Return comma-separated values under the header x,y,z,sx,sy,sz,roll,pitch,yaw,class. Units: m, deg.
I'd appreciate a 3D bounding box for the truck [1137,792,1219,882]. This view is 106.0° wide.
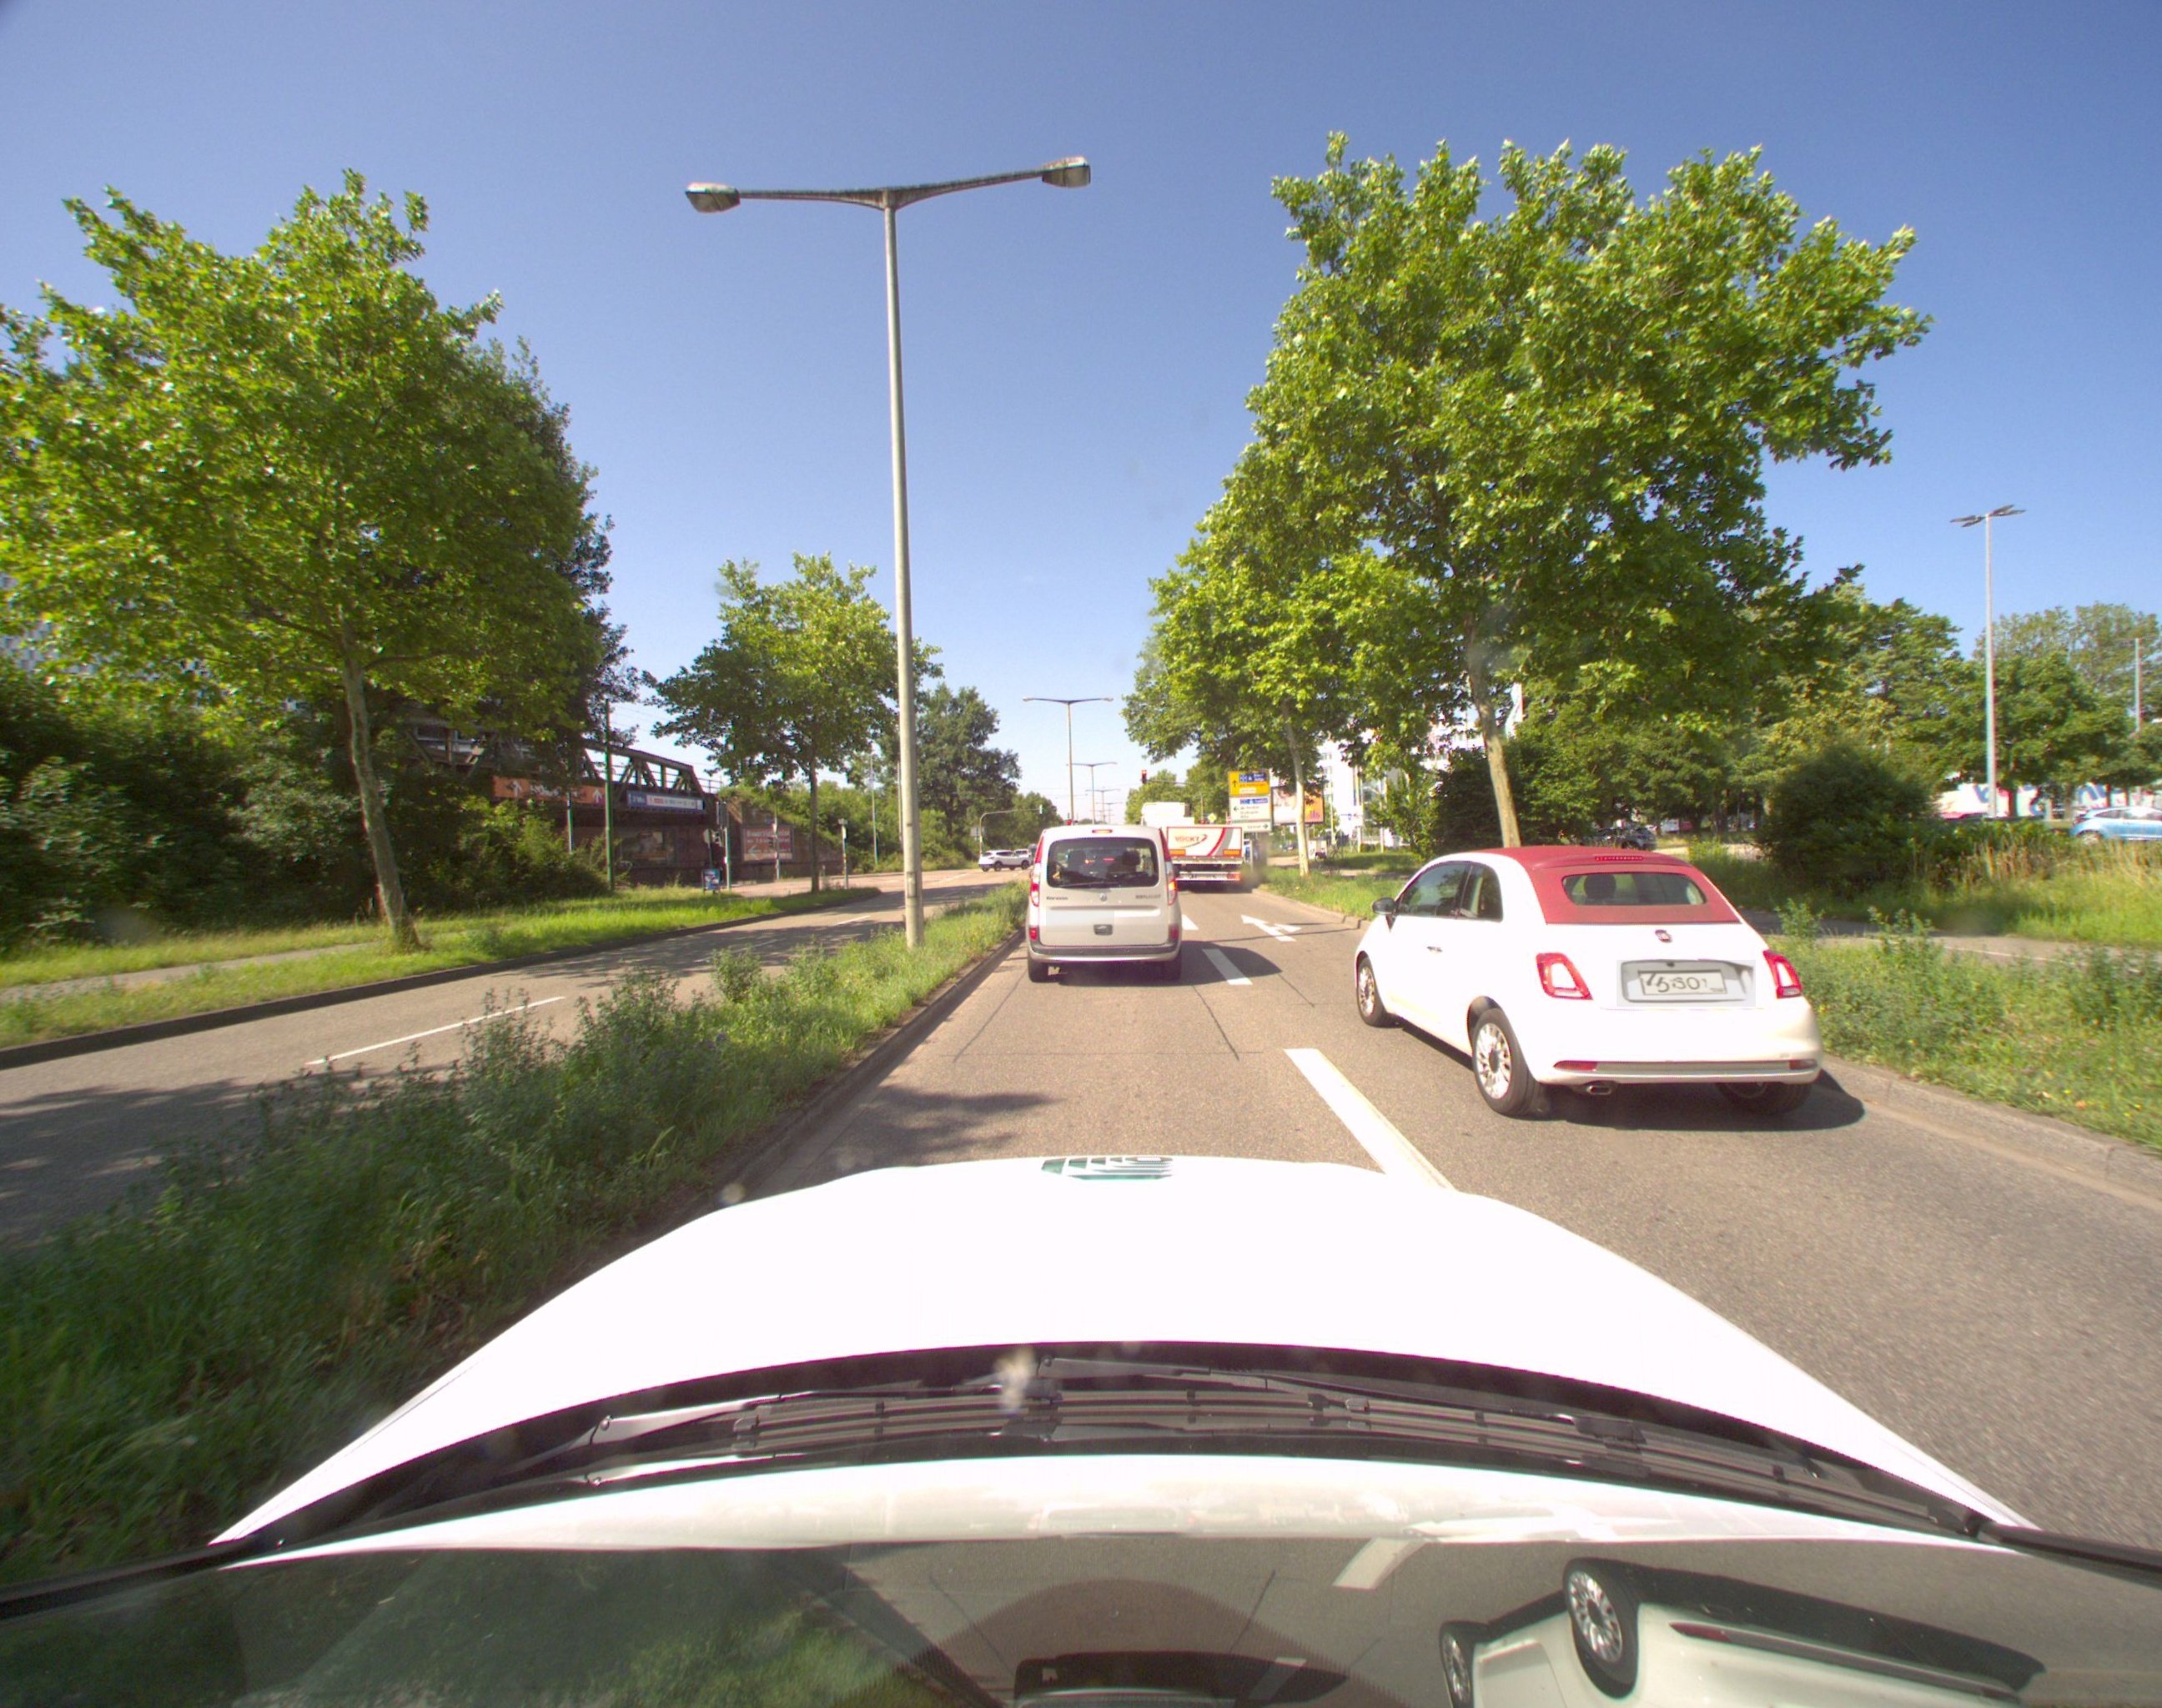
x,y,z,sx,sy,sz,roll,pitch,yaw,class
4.357,-0.735,38.147,3.061,3.758,7.478,-1,0,1,truck

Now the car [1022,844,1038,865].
x,y,z,sx,sy,sz,roll,pitch,yaw,class
-6.765,0.072,107.455,2.055,2.614,5.861,-1,0,-4,car

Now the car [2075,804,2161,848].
x,y,z,sx,sy,sz,roll,pitch,yaw,class
39.774,-1.049,30.263,1.751,1.571,3.419,-1,0,-33,car

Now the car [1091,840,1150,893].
x,y,z,sx,sy,sz,roll,pitch,yaw,class
1.299,0.405,28.176,1.804,1.684,3.999,-1,0,0,car

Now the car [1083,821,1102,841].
x,y,z,sx,sy,sz,roll,pitch,yaw,class
1.209,-2.470,88.141,1.710,2.013,3.995,-1,0,-3,car

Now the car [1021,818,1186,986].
x,y,z,sx,sy,sz,roll,pitch,yaw,class
0.297,0.508,10.689,1.743,1.772,3.951,-1,0,1,car

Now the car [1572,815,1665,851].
x,y,z,sx,sy,sz,roll,pitch,yaw,class
27.593,-1.056,41.843,1.778,1.716,3.703,-1,0,-45,car

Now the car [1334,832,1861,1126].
x,y,z,sx,sy,sz,roll,pitch,yaw,class
3.096,0.619,5.793,1.654,1.436,3.523,-1,0,3,car

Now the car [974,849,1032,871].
x,y,z,sx,sy,sz,roll,pitch,yaw,class
-6.047,0.464,63.602,4.137,1.627,1.976,-1,0,-41,car

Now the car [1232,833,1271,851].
x,y,z,sx,sy,sz,roll,pitch,yaw,class
20.630,-1.450,98.559,4.495,2.013,2.006,-1,0,10,car

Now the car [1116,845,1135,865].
x,y,z,sx,sy,sz,roll,pitch,yaw,class
4.774,0.122,87.733,1.986,2.013,4.002,-1,0,2,car

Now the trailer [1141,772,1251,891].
x,y,z,sx,sy,sz,roll,pitch,yaw,class
4.120,-0.746,32.030,3.004,3.740,12.247,-1,0,2,trailer

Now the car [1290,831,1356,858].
x,y,z,sx,sy,sz,roll,pitch,yaw,class
15.902,-0.635,53.635,3.965,1.662,1.726,-1,0,7,car

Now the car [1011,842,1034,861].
x,y,z,sx,sy,sz,roll,pitch,yaw,class
-6.442,-0.268,90.758,1.986,1.891,4.989,-4,0,1,car

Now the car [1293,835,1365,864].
x,y,z,sx,sy,sz,roll,pitch,yaw,class
15.169,-0.263,49.997,3.965,1.662,1.726,-1,0,7,car
